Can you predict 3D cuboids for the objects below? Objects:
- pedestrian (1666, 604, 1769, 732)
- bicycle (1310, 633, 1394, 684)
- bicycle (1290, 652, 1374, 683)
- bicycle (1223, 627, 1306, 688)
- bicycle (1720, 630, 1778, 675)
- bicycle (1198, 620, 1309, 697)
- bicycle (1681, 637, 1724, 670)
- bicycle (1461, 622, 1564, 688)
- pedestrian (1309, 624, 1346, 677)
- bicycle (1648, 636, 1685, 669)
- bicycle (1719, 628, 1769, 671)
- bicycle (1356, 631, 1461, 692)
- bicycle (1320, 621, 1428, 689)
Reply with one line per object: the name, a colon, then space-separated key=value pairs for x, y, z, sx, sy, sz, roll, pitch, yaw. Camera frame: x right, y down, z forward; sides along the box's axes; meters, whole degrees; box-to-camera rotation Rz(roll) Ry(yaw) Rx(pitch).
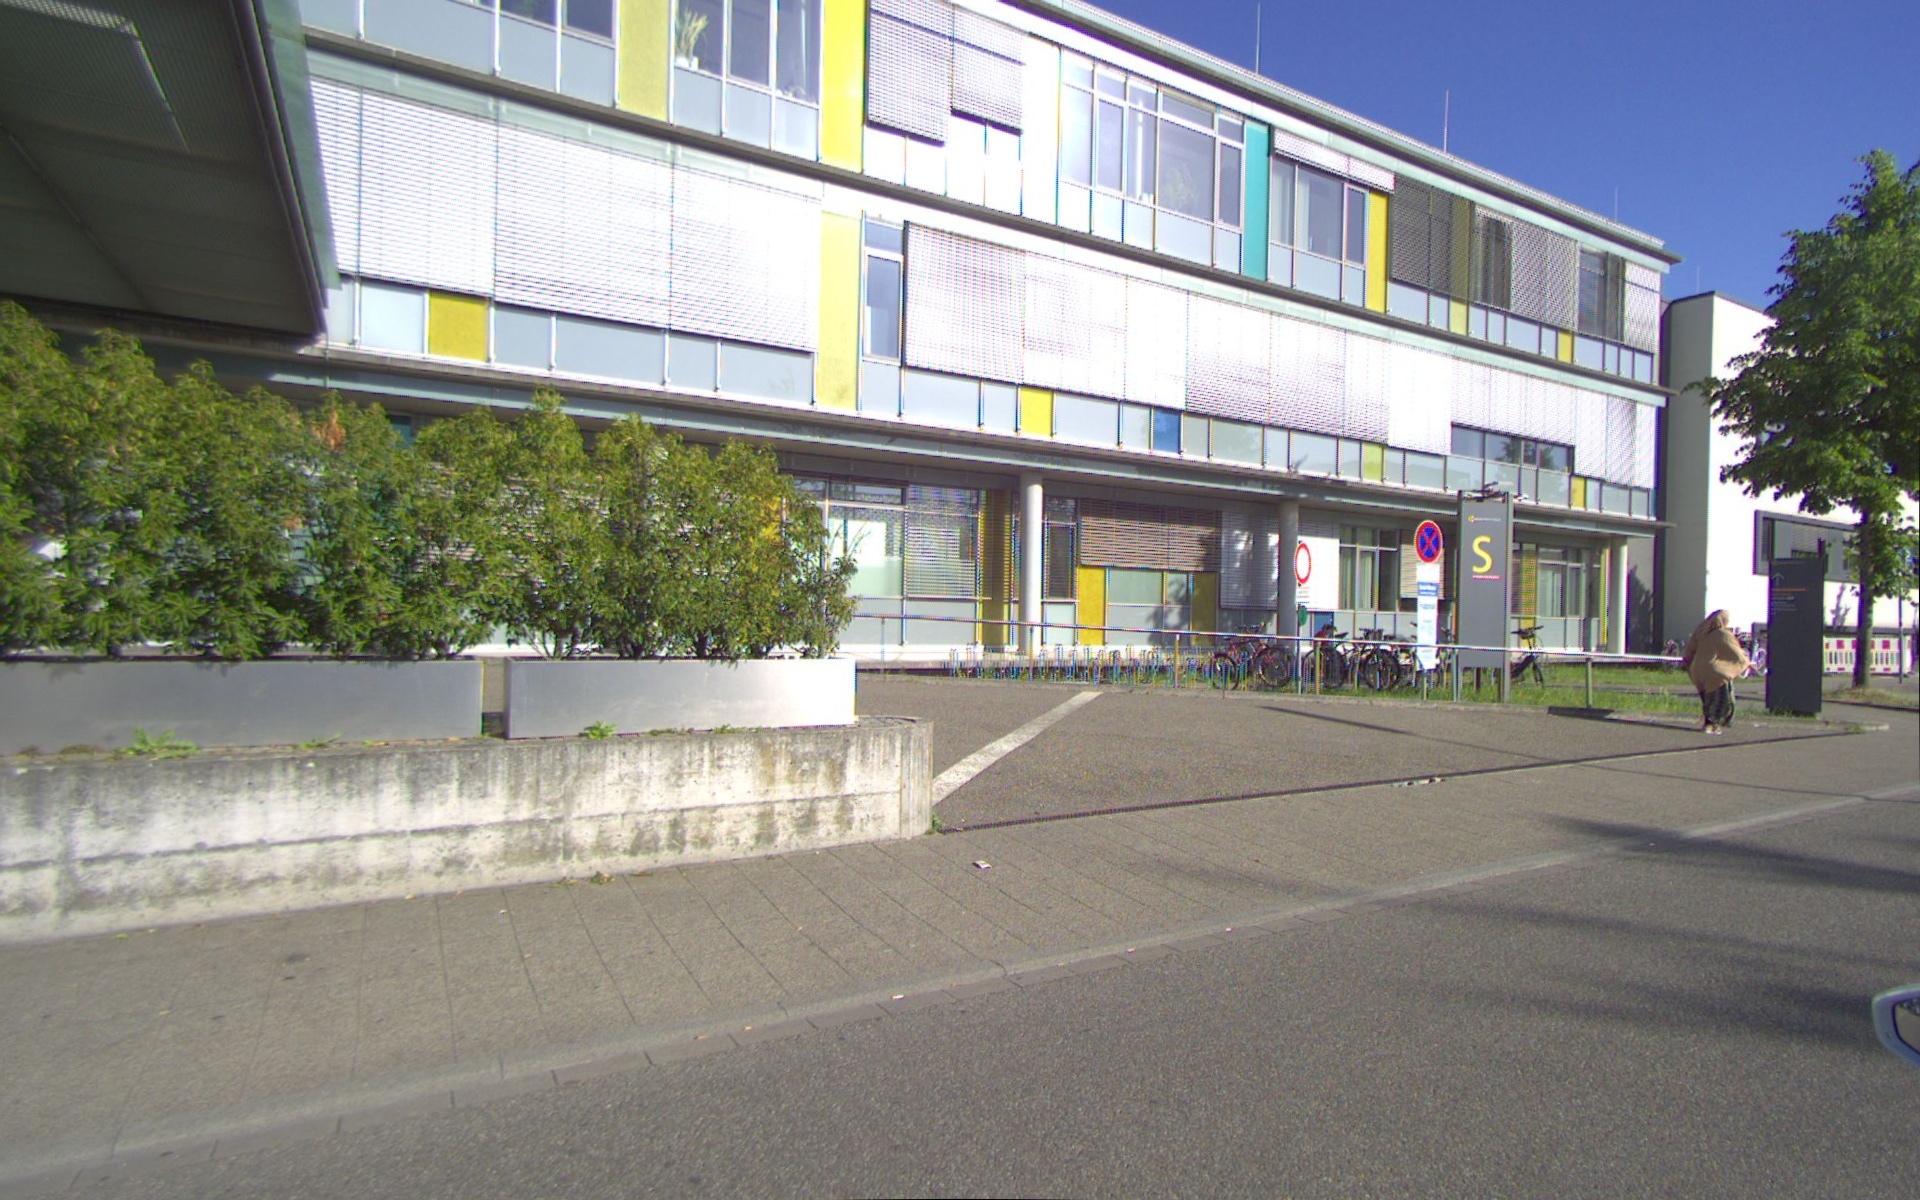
pedestrian: x=9.843 y=0.865 z=13.063 sx=0.771 sy=1.570 sz=0.769 roll=2 pitch=1 yaw=-30
bicycle: x=8.341 y=1.225 z=21.440 sx=0.530 sy=1.007 sz=1.706 roll=1 pitch=-1 yaw=-31
bicycle: x=7.780 y=1.405 z=21.059 sx=0.530 sy=0.559 sz=1.706 roll=1 pitch=-1 yaw=-30
bicycle: x=6.156 y=1.142 z=20.412 sx=0.530 sy=1.138 sz=1.706 roll=1 pitch=-1 yaw=-31
bicycle: x=20.530 y=1.350 z=26.120 sx=1.839 sy=1.126 sz=0.532 roll=1 pitch=-1 yaw=-30
bicycle: x=4.673 y=0.907 z=16.077 sx=0.532 sy=1.138 sz=1.701 roll=1 pitch=-1 yaw=-39
bicycle: x=19.925 y=1.428 z=26.944 sx=1.433 sy=0.875 sz=0.367 roll=1 pitch=-1 yaw=-30
bicycle: x=10.153 y=0.994 z=18.524 sx=0.529 sy=1.136 sz=1.698 roll=1 pitch=-1 yaw=-24
pedestrian: x=8.359 y=1.143 z=22.854 sx=0.549 sy=1.189 sz=0.529 roll=1 pitch=0 yaw=-29
bicycle: x=19.570 y=1.449 z=27.827 sx=1.433 sy=0.885 sz=0.253 roll=1 pitch=0 yaw=-30
bicycle: x=21.278 y=1.335 z=27.248 sx=1.742 sy=1.138 sz=0.418 roll=1 pitch=0 yaw=-30
bicycle: x=7.951 y=1.071 z=17.884 sx=0.530 sy=0.987 sz=1.706 roll=1 pitch=-1 yaw=-31
bicycle: x=6.995 y=0.900 z=17.039 sx=0.530 sy=1.069 sz=1.706 roll=1 pitch=-1 yaw=-31
